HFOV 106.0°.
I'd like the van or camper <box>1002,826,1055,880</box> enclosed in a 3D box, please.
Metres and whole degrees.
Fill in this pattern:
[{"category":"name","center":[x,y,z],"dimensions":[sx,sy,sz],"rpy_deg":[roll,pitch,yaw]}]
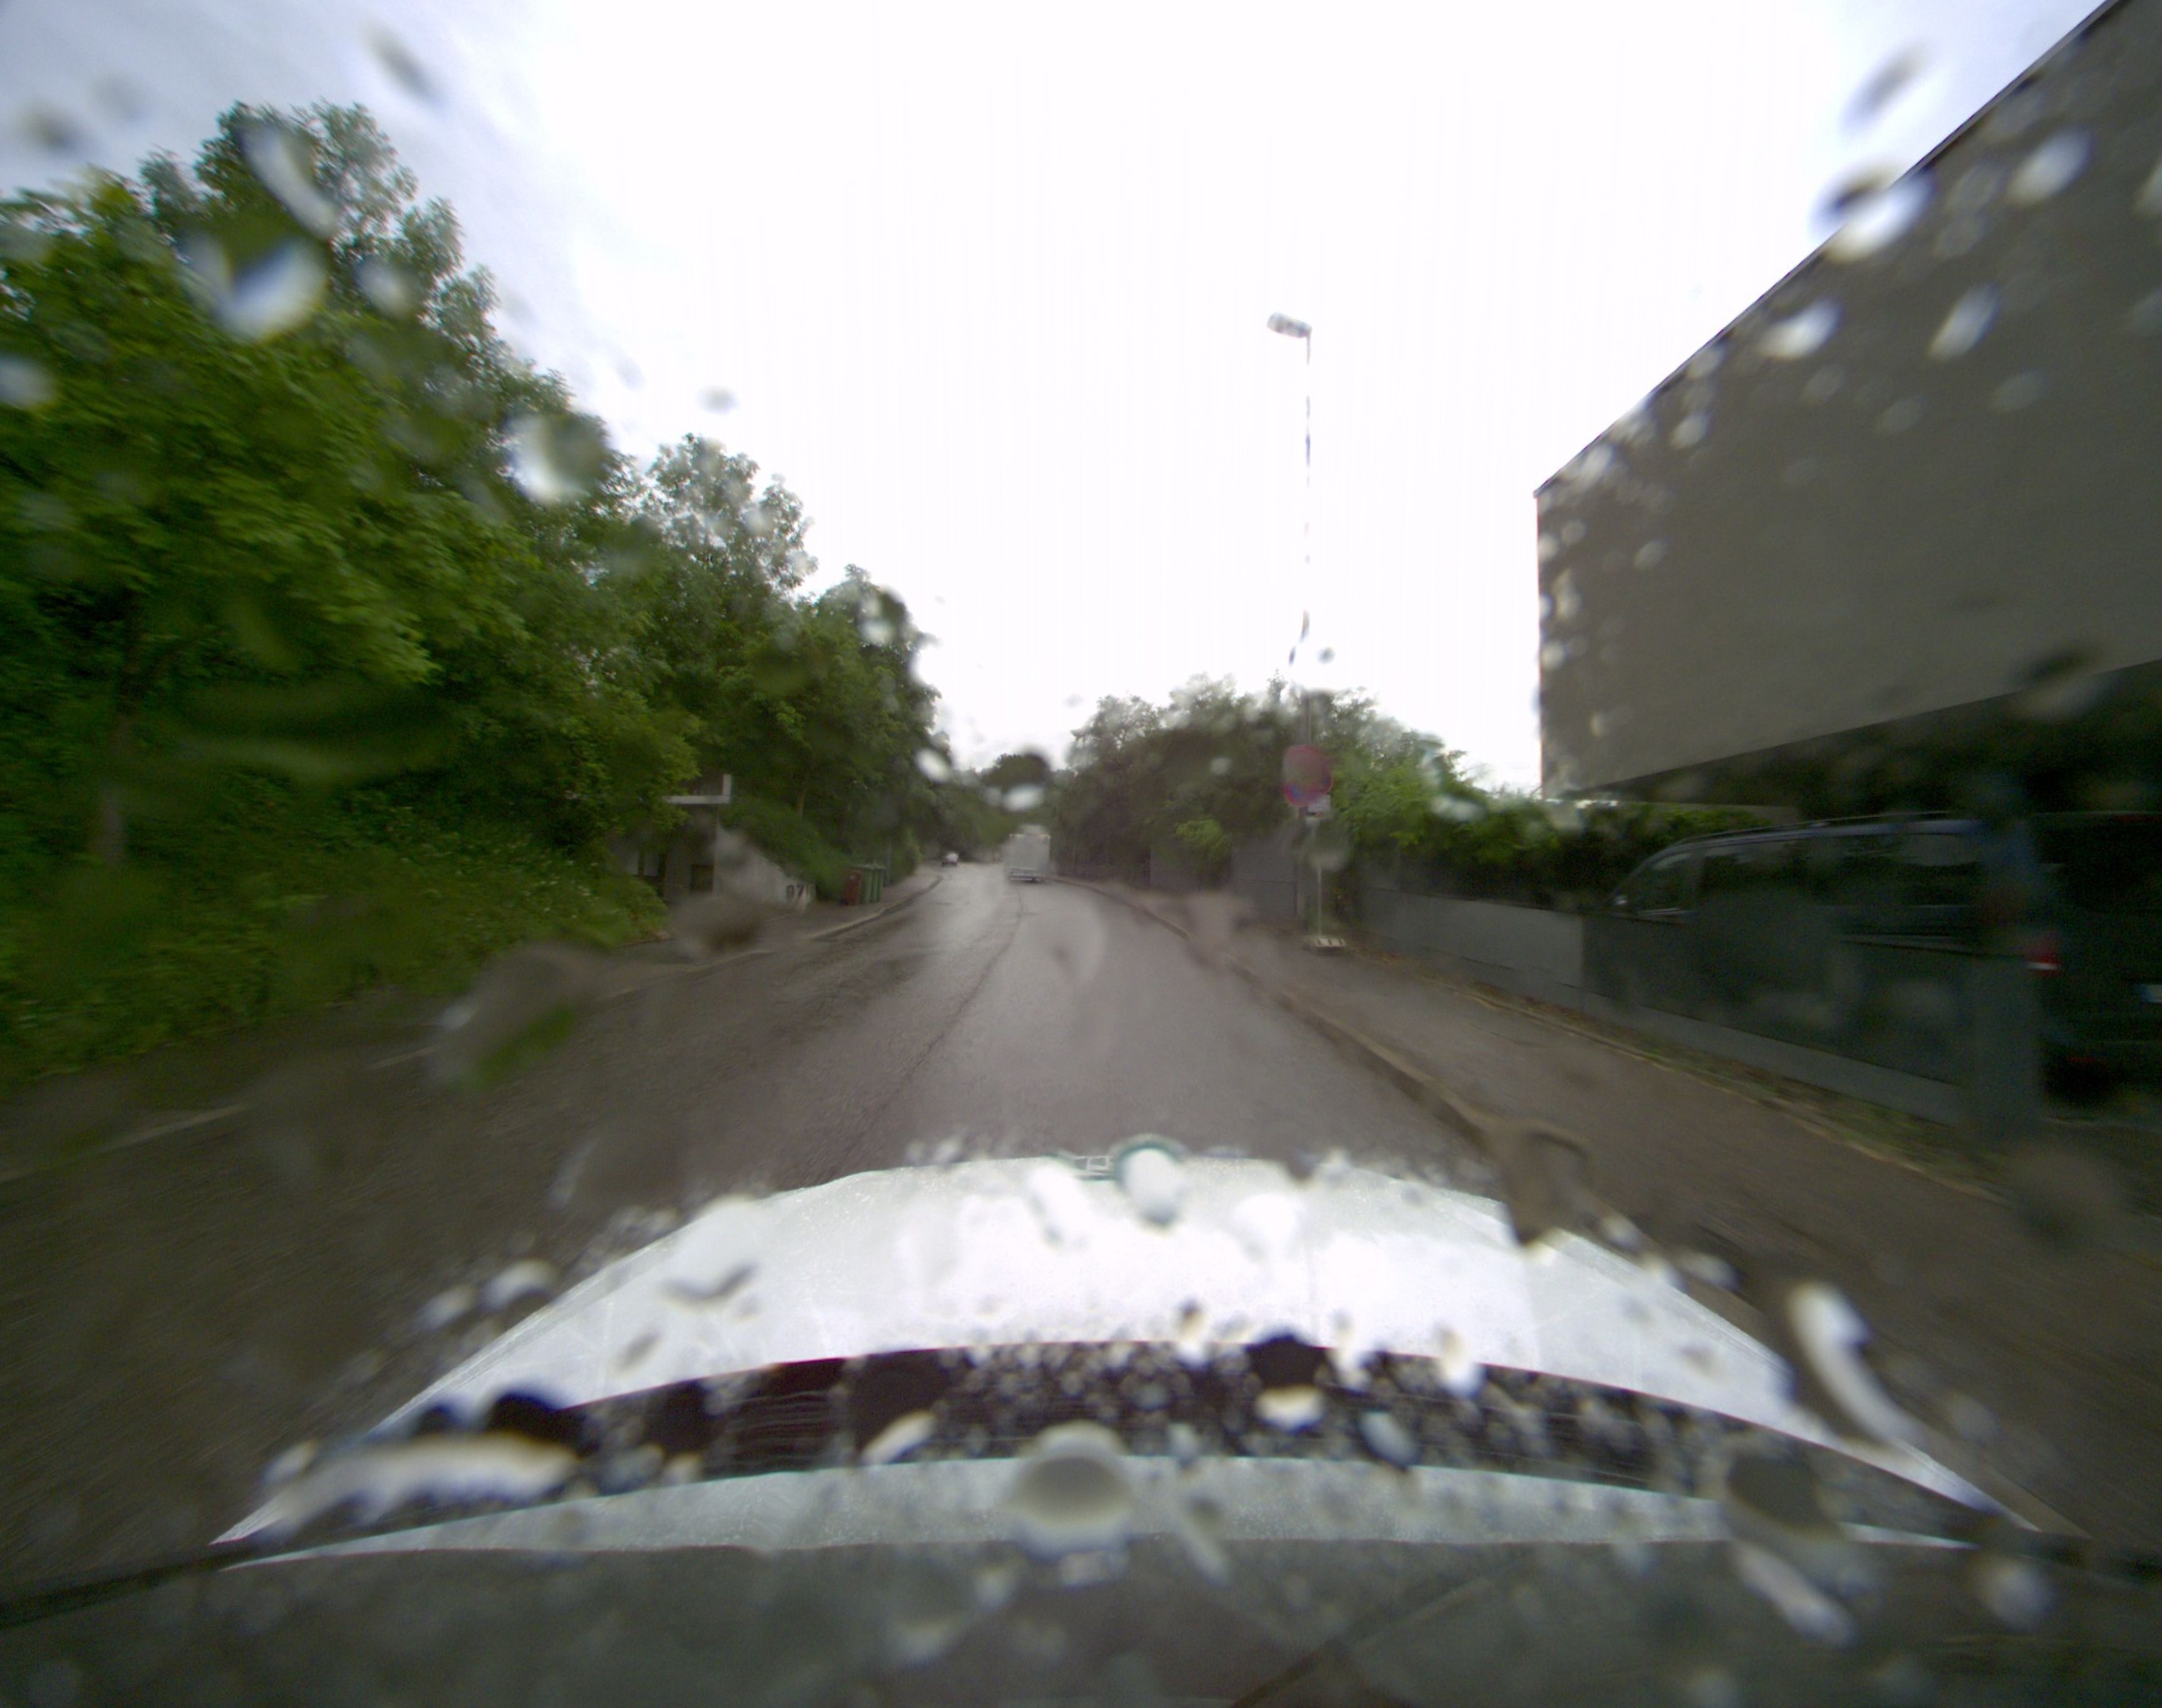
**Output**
[{"category":"van or camper","center":[-3.160,-0.015,47.563],"dimensions":[2.539,2.925,5.929],"rpy_deg":[-1,-1,-9]}]

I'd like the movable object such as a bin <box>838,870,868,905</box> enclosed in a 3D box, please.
[{"category":"movable object such as a bin","center":[-6.098,0.881,21.811],"dimensions":[0.646,0.911,0.672],"rpy_deg":[0,0,-3]}]

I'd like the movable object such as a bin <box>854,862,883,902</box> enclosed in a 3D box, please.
[{"category":"movable object such as a bin","center":[-6.078,0.787,23.303],"dimensions":[0.646,1.104,0.672],"rpy_deg":[0,0,-3]}]

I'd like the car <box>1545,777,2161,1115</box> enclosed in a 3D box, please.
[{"category":"car","center":[6.486,0.643,7.129],"dimensions":[1.988,1.941,4.768],"rpy_deg":[0,-3,-2]}]

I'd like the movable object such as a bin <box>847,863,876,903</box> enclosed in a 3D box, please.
[{"category":"movable object such as a bin","center":[-6.077,0.786,22.594],"dimensions":[0.646,1.080,0.672],"rpy_deg":[0,0,-3]}]

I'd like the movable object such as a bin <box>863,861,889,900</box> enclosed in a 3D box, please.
[{"category":"movable object such as a bin","center":[-6.017,0.779,23.939],"dimensions":[0.646,1.115,0.504],"rpy_deg":[0,0,-3]}]

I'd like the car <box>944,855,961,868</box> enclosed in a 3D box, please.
[{"category":"car","center":[-14.345,0.830,91.092],"dimensions":[1.648,1.385,3.522],"rpy_deg":[1,0,-6]}]
